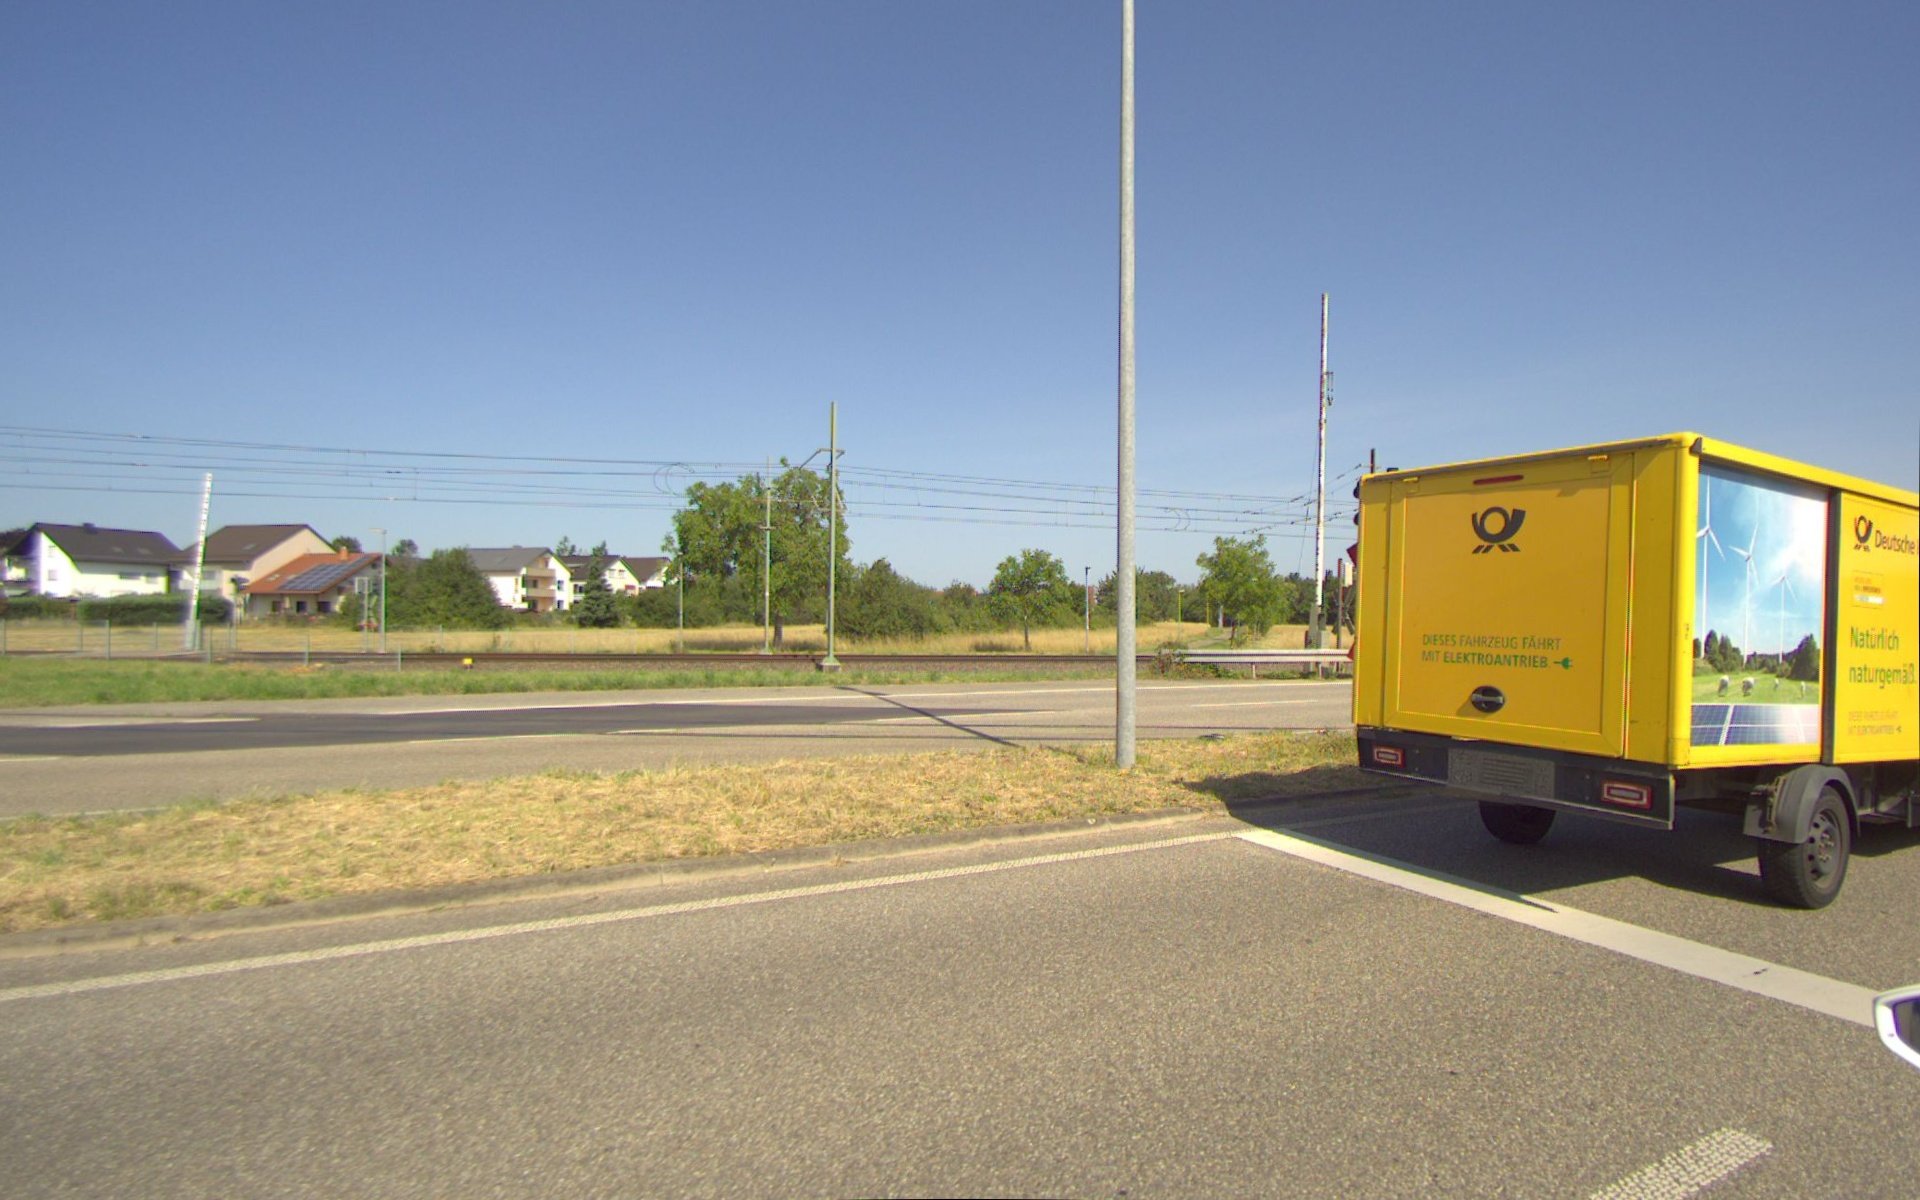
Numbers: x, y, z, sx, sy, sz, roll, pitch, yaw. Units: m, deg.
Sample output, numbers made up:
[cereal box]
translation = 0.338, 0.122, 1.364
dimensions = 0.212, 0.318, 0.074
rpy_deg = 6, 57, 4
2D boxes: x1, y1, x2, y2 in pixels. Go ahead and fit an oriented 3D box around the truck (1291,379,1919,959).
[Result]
[truck]
translation = 5.090, 0.349, 6.697
dimensions = 5.846, 2.490, 2.102
rpy_deg = 1, 0, -30
